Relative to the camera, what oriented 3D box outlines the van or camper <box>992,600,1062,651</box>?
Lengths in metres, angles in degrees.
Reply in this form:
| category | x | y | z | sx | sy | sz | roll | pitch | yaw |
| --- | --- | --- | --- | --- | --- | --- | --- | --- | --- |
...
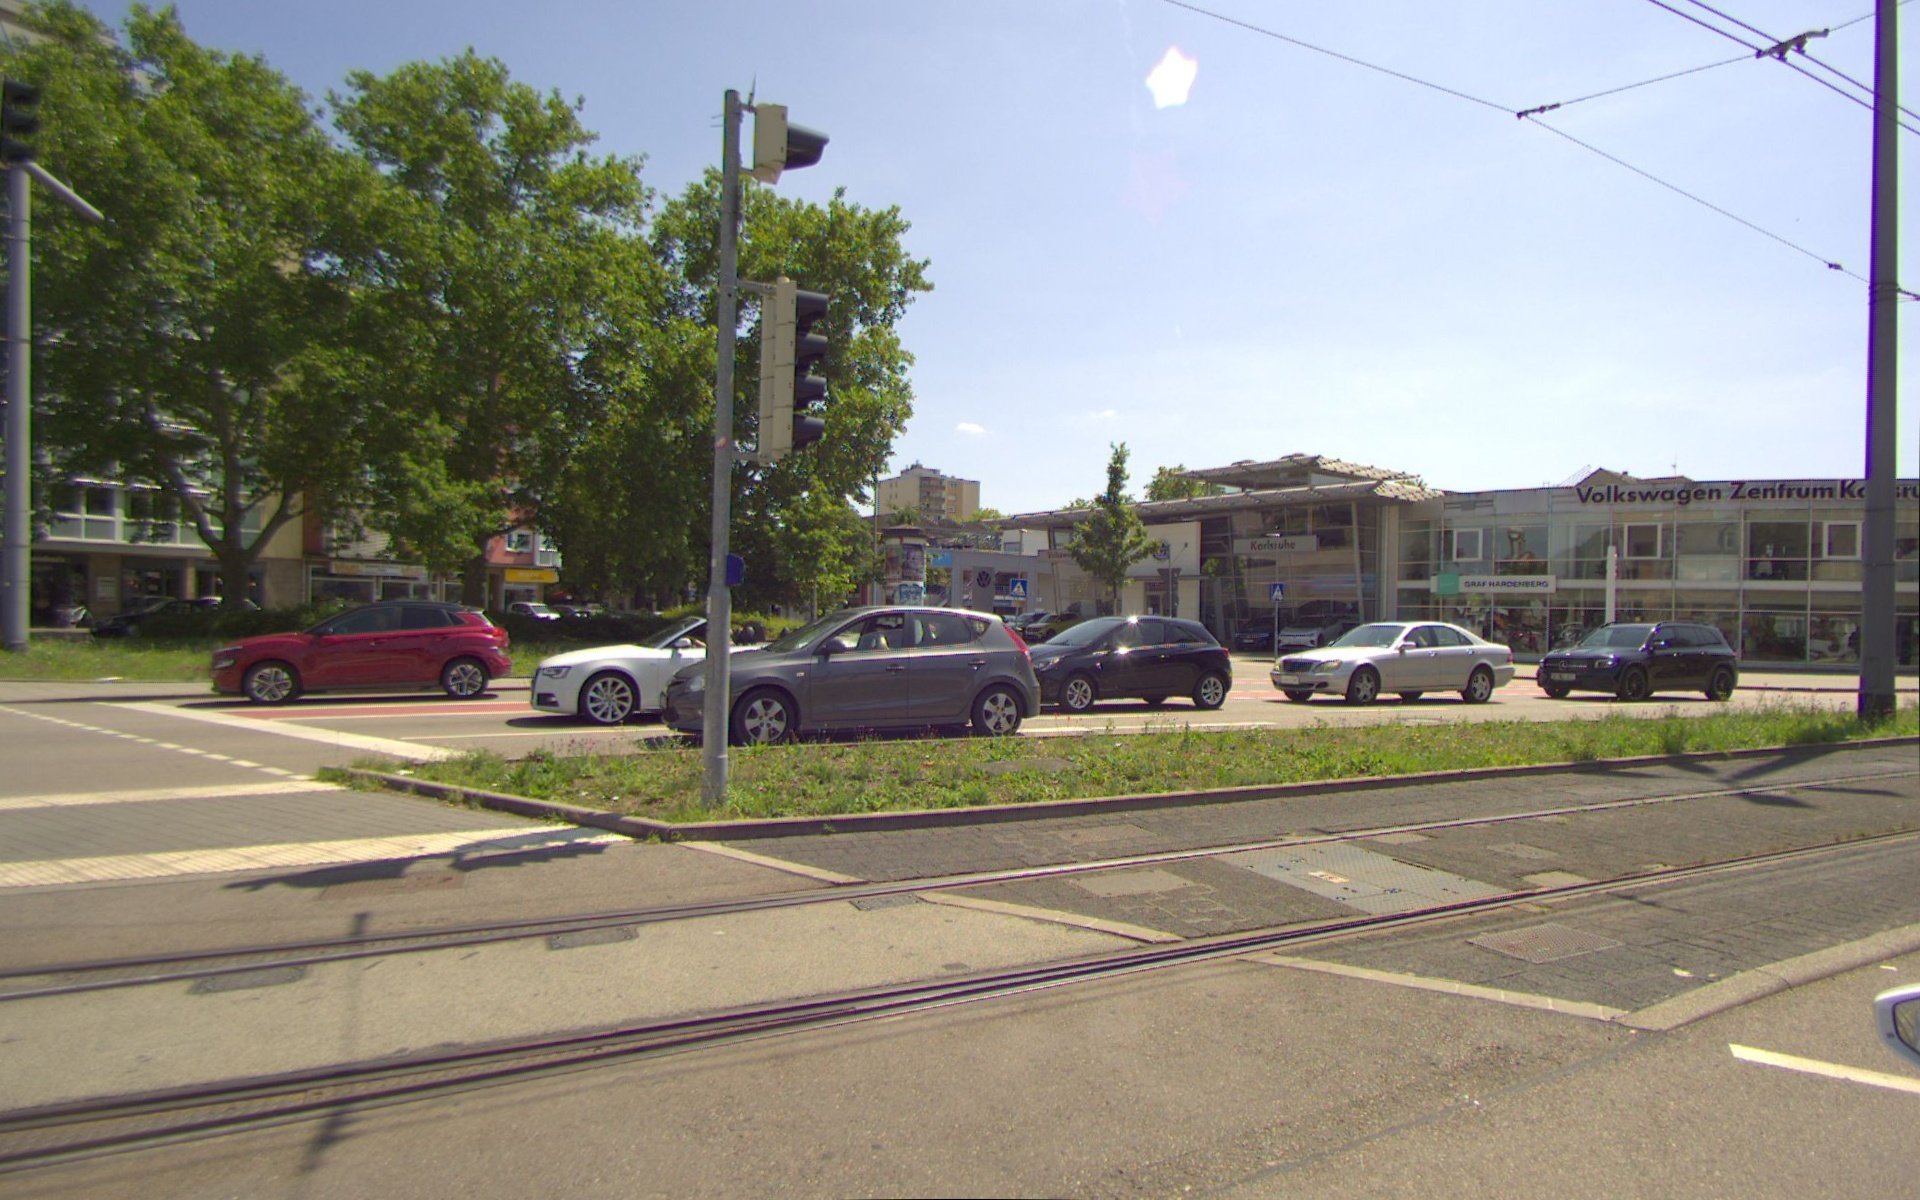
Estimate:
| category | x | y | z | sx | sy | sz | roll | pitch | yaw |
| --- | --- | --- | --- | --- | --- | --- | --- | --- | --- |
| van or camper | 4.149 | 1.581 | 61.982 | 3.963 | 3.043 | 1.979 | 1 | 0 | -37 |

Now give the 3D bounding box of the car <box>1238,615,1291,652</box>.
| category | x | y | z | sx | sy | sz | roll | pitch | yaw |
| --- | --- | --- | --- | --- | --- | --- | --- | --- | --- |
| car | 14.446 | 1.560 | 47.558 | 1.405 | 1.639 | 3.320 | 1 | -1 | 36 |

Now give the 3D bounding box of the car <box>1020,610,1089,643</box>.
| category | x | y | z | sx | sy | sz | roll | pitch | yaw |
| --- | --- | --- | --- | --- | --- | --- | --- | --- | --- |
| car | 5.668 | 1.581 | 59.798 | 4.063 | 1.857 | 1.643 | 2 | -1 | -38 |

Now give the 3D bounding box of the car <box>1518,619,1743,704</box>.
| category | x | y | z | sx | sy | sz | roll | pitch | yaw |
| --- | --- | --- | --- | --- | --- | --- | --- | --- | --- |
| car | 14.157 | 1.271 | 21.207 | 4.461 | 1.648 | 1.818 | 2 | -2 | -23 |

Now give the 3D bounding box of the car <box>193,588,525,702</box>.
| category | x | y | z | sx | sy | sz | roll | pitch | yaw |
| --- | --- | --- | --- | --- | --- | --- | --- | --- | --- |
| car | -9.348 | 0.709 | 16.035 | 4.343 | 1.618 | 1.528 | 1 | -2 | -27 |

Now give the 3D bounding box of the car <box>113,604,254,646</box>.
| category | x | y | z | sx | sy | sz | roll | pitch | yaw |
| --- | --- | --- | --- | --- | --- | --- | --- | --- | --- |
| car | -32.524 | 1.056 | 42.183 | 1.967 | 1.639 | 4.307 | 1 | -1 | 34 |

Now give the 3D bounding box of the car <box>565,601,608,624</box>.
| category | x | y | z | sx | sy | sz | roll | pitch | yaw |
| --- | --- | --- | --- | --- | --- | --- | --- | --- | --- |
| car | -25.606 | 0.857 | 68.827 | 3.162 | 1.506 | 1.575 | 1 | -1 | 45 |

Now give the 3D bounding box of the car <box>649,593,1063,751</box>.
| category | x | y | z | sx | sy | sz | roll | pitch | yaw |
| --- | --- | --- | --- | --- | --- | --- | --- | --- | --- |
| car | -1.148 | 0.734 | 11.251 | 4.271 | 1.500 | 1.838 | 1 | -1 | -25 |

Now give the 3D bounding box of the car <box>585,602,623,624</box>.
| category | x | y | z | sx | sy | sz | roll | pitch | yaw |
| --- | --- | --- | --- | --- | --- | --- | --- | --- | --- |
| car | -25.199 | 0.899 | 70.971 | 3.162 | 1.506 | 1.275 | 1 | -1 | 45 |

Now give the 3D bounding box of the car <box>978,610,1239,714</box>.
| category | x | y | z | sx | sy | sz | roll | pitch | yaw |
| --- | --- | --- | --- | --- | --- | --- | --- | --- | --- |
| car | 2.372 | 0.943 | 15.934 | 3.852 | 1.481 | 1.665 | 2 | -2 | -26 |

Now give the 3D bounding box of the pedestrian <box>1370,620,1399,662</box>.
| category | x | y | z | sx | sy | sz | roll | pitch | yaw |
| --- | --- | --- | --- | --- | --- | --- | --- | --- | --- |
| pedestrian | 17.514 | 1.686 | 41.401 | 0.808 | 1.664 | 0.726 | 1 | 0 | -22 |

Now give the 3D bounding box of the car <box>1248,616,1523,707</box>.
| category | x | y | z | sx | sy | sz | roll | pitch | yaw |
| --- | --- | --- | --- | --- | --- | --- | --- | --- | --- |
| car | 8.081 | 1.148 | 18.991 | 5.063 | 1.550 | 1.987 | 2 | -2 | -26 |

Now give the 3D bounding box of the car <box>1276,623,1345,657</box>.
| category | x | y | z | sx | sy | sz | roll | pitch | yaw |
| --- | --- | --- | --- | --- | --- | --- | --- | --- | --- |
| car | 16.008 | 1.797 | 45.799 | 1.588 | 1.439 | 4.168 | 1 | -1 | 40 |

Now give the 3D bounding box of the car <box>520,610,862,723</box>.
| category | x | y | z | sx | sy | sz | roll | pitch | yaw |
| --- | --- | --- | --- | --- | --- | --- | --- | --- | --- |
| car | -3.552 | 0.862 | 13.381 | 4.149 | 1.316 | 1.701 | 2 | -2 | -27 |
